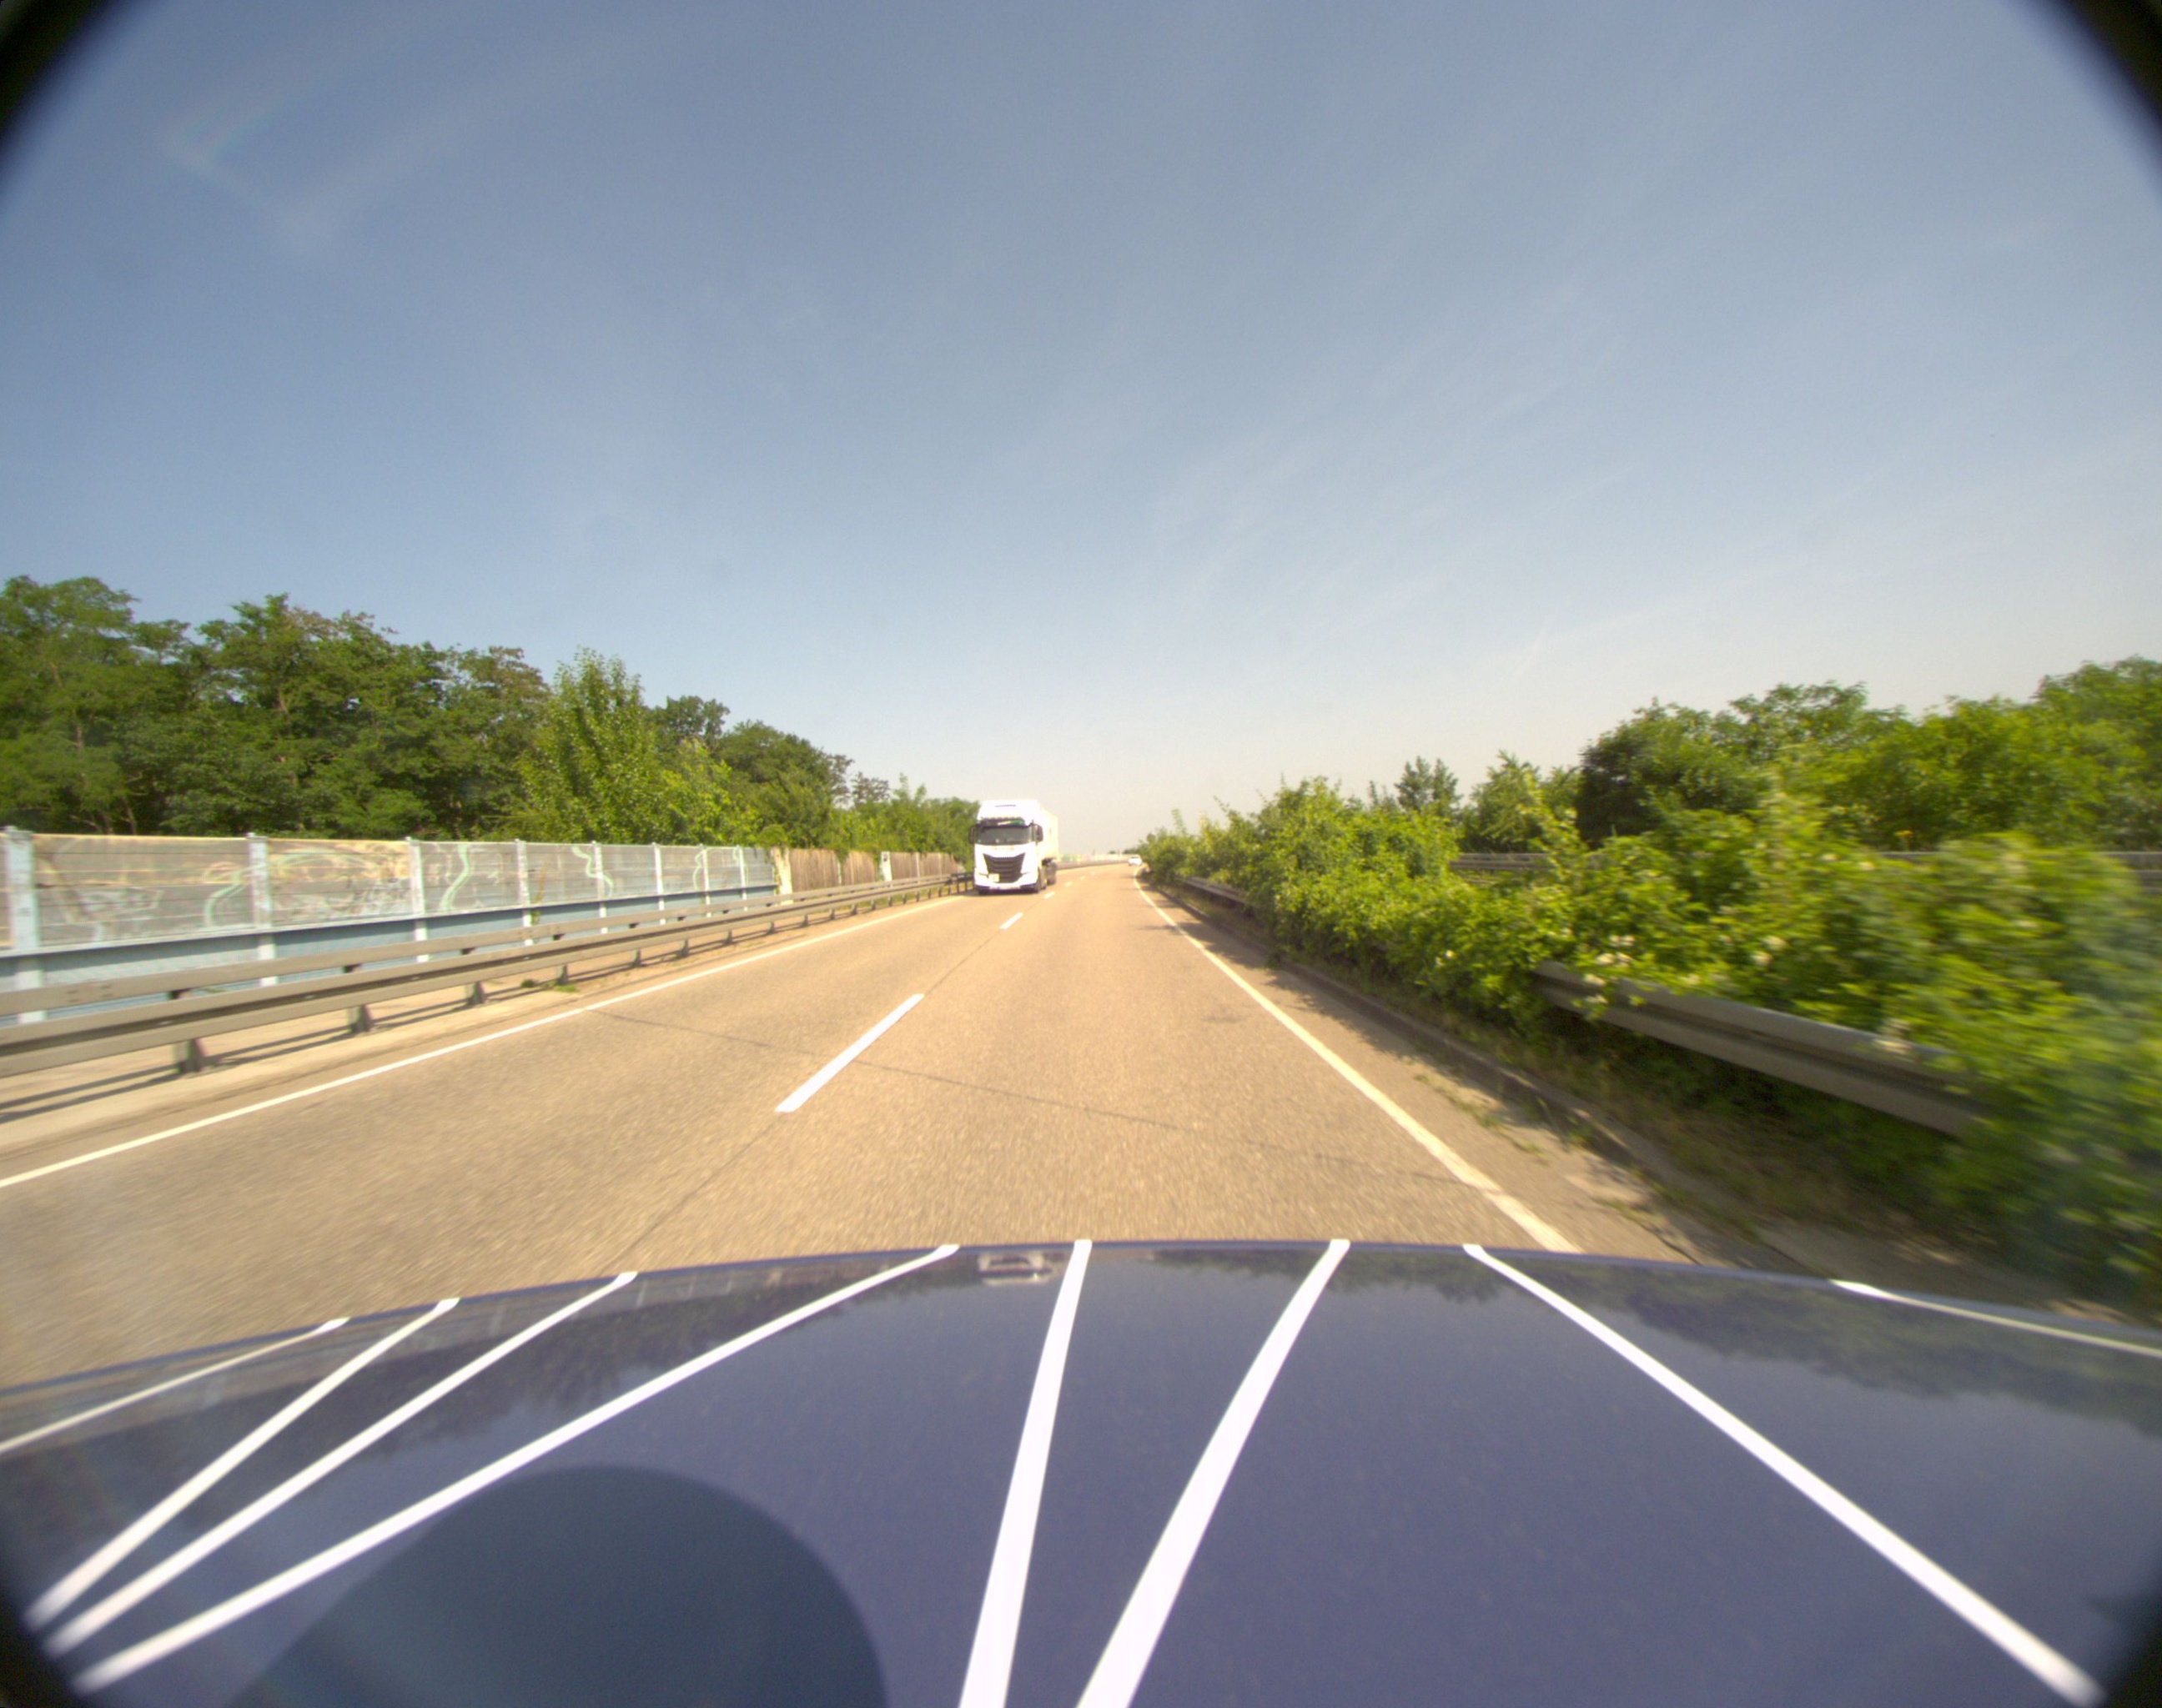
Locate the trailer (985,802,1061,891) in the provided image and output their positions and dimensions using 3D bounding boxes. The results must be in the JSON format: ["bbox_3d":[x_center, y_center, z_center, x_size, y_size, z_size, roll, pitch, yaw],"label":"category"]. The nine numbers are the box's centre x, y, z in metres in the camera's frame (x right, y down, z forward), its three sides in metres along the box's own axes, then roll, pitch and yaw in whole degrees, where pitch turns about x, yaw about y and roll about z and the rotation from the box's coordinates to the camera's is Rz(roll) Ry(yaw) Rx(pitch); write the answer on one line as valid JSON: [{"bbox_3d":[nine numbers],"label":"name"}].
[{"bbox_3d":[-2.749,-0.300,38.988,2.686,3.884,9.674,-2,0,2],"label":"trailer"}]

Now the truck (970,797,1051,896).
[{"bbox_3d":[-2.943,-0.291,33.319,2.665,3.873,5.648,-2,0,2],"label":"truck"}]

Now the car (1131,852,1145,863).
[{"bbox_3d":[8.243,0.501,109.961,1.788,1.427,4.002,-3,0,8],"label":"car"}]

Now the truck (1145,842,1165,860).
[{"bbox_3d":[17.315,-0.668,177.353,2.774,3.938,5.636,-2,0,24],"label":"truck"}]
